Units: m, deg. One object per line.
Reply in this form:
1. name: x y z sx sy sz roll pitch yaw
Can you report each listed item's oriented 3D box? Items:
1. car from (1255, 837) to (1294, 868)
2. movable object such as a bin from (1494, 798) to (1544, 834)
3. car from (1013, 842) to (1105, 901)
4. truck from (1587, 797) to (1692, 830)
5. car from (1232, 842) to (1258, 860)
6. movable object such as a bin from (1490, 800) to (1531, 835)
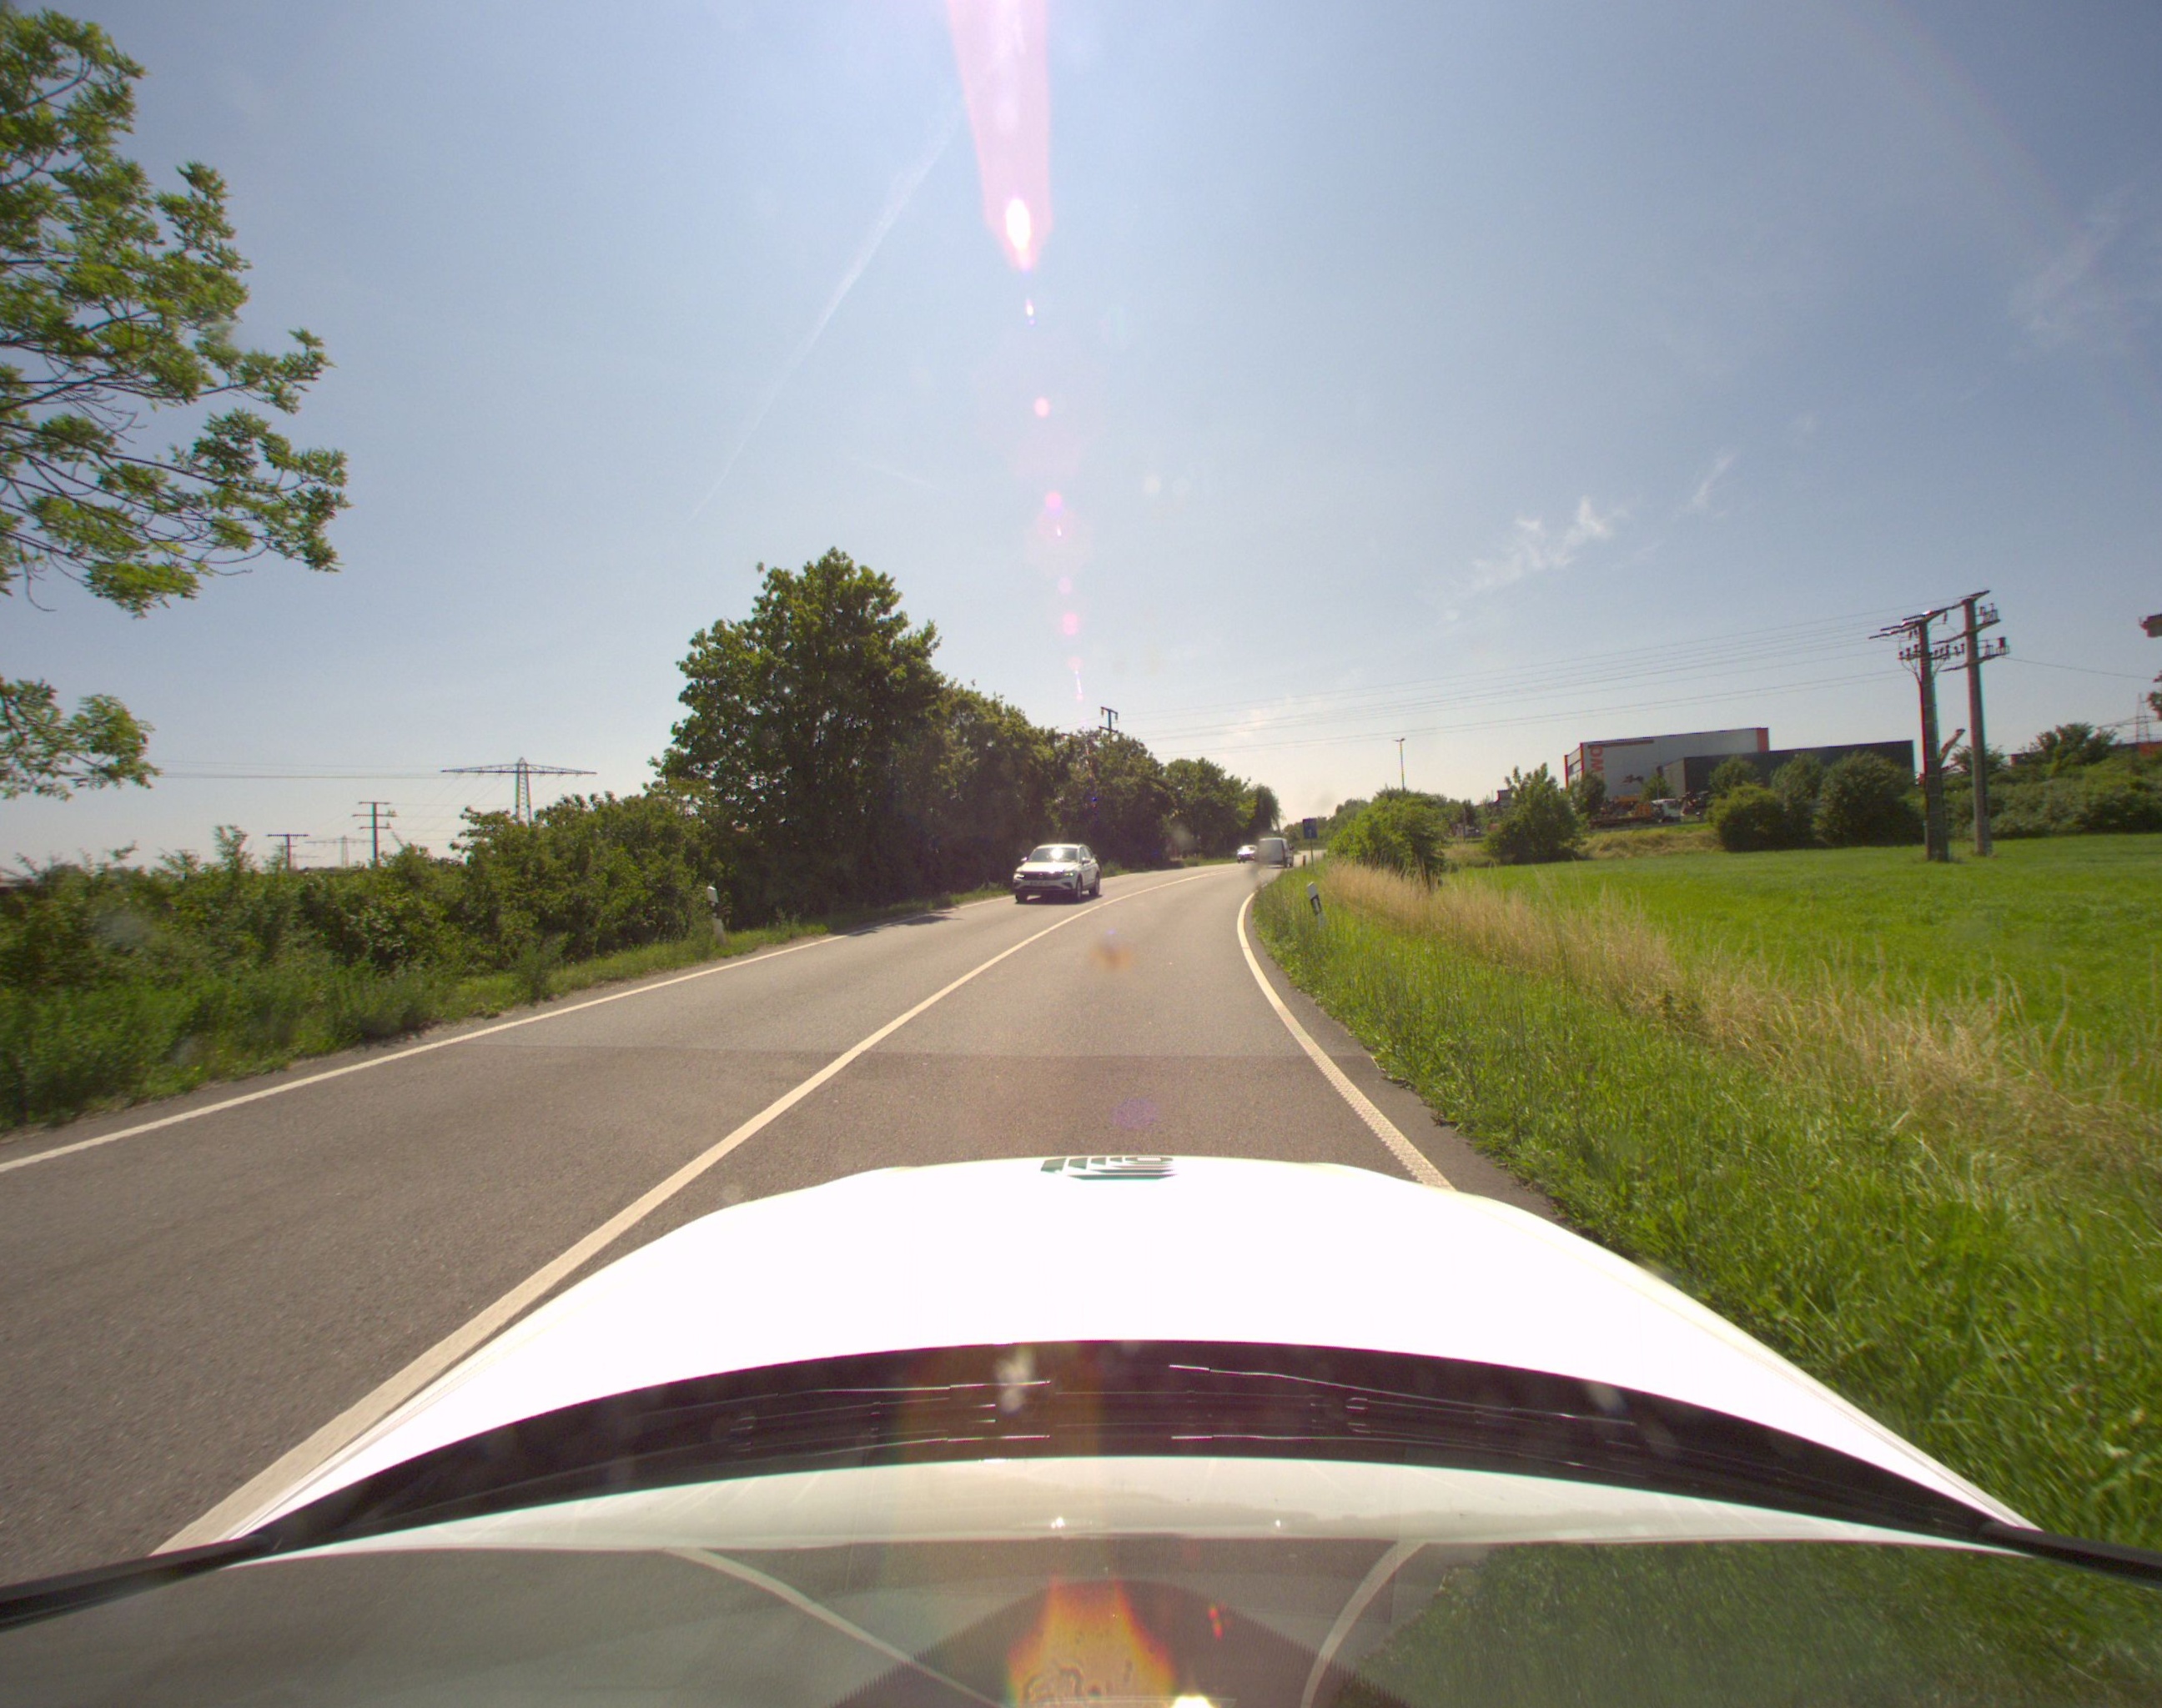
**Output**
1. car: 11.708 -0.078 49.155 1.888 1.732 3.841 -3 -1 19
2. movable object such as a bin: 67.842 -5.807 126.305 6.532 5.148 3.827 -2 -2 24
3. car: -0.545 0.456 24.419 1.844 1.601 4.790 0 0 9
4. truck: 59.257 -4.289 86.602 8.729 3.137 3.113 -1 -2 6
5. car: 15.341 -0.317 76.229 1.726 1.589 4.021 -1 0 21
6. movable object such as a bin: 70.959 -5.959 134.758 5.665 5.269 3.239 -2 -2 24
